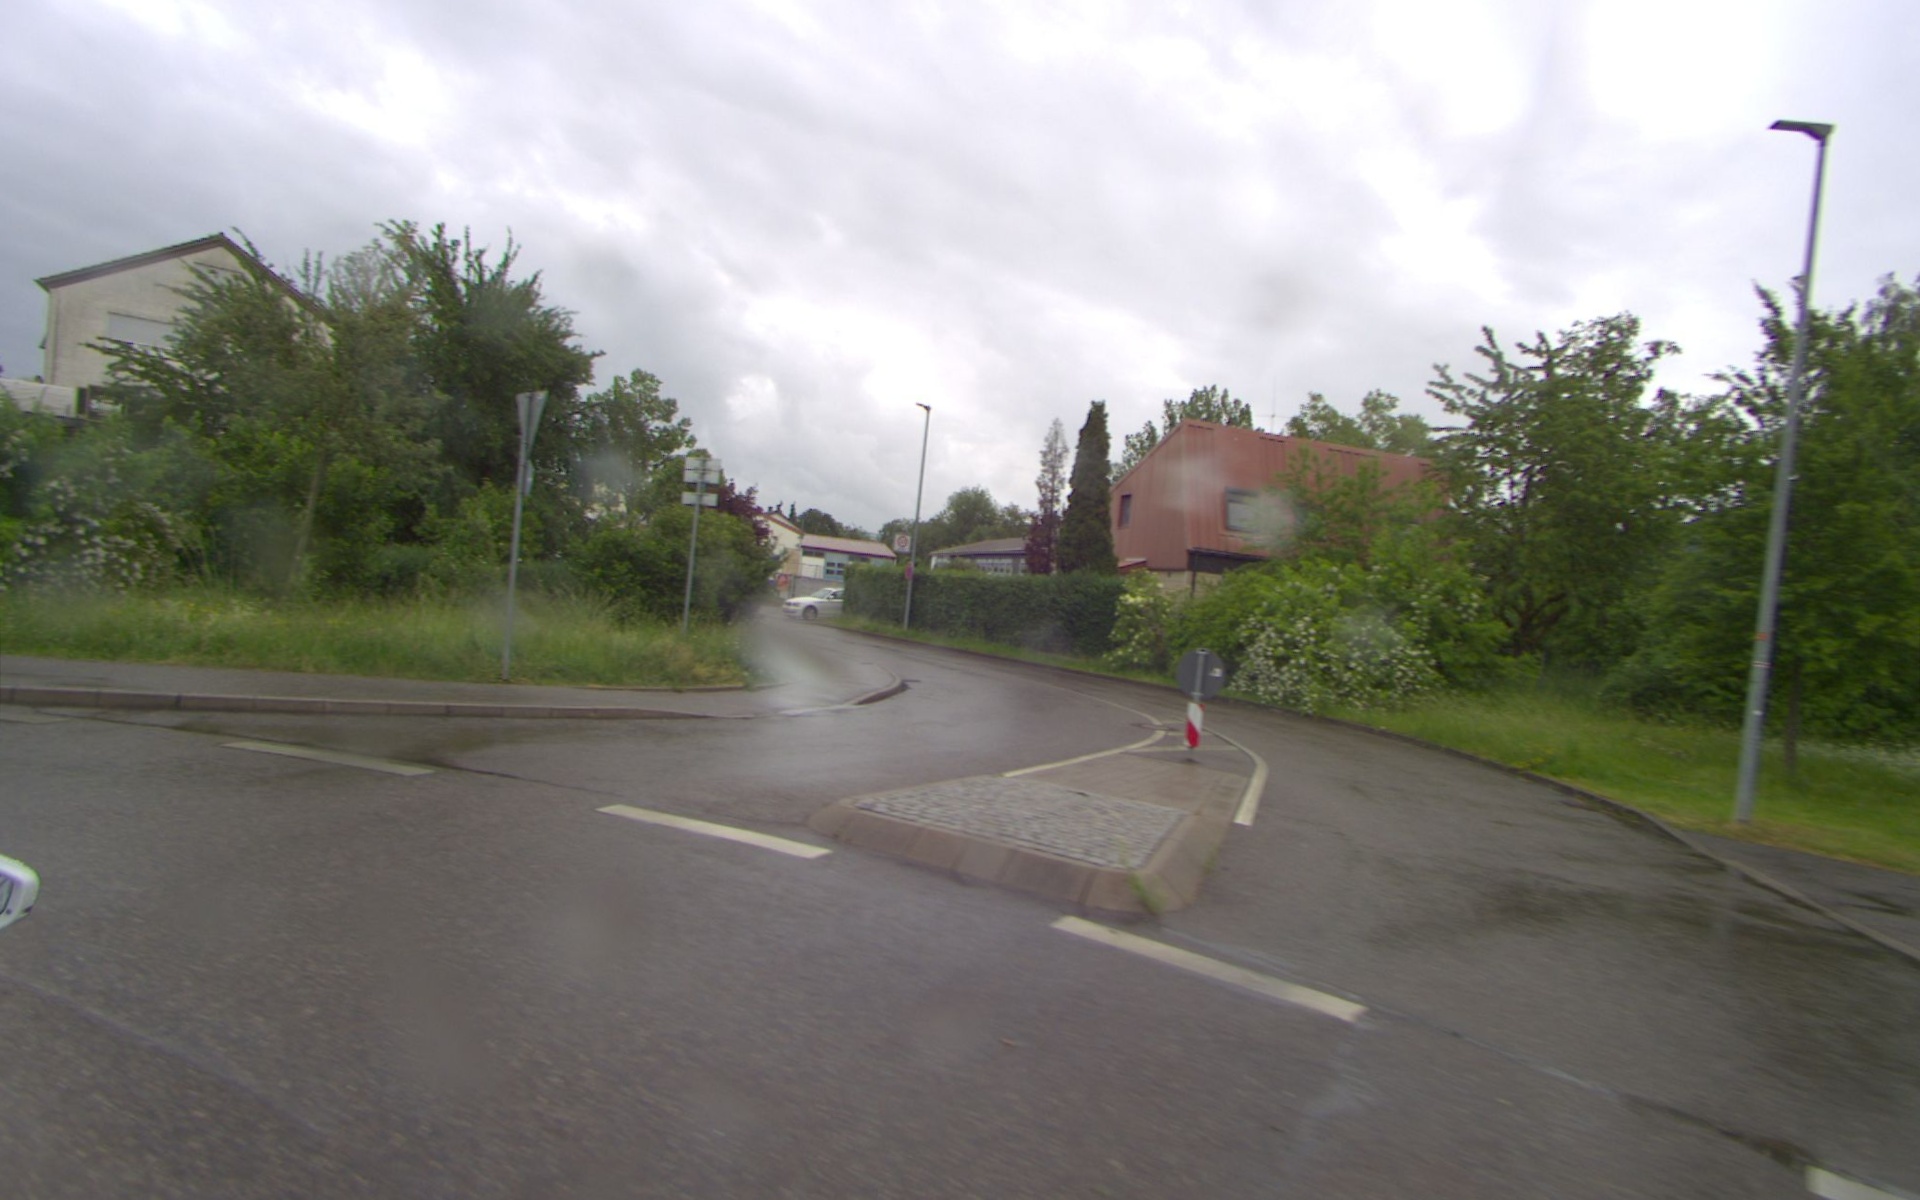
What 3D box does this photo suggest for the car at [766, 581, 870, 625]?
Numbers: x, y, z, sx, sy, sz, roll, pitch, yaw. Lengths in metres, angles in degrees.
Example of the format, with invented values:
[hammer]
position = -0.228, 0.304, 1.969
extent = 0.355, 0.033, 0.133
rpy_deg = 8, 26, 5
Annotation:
[car]
position = -6.063, 0.132, 43.133
extent = 3.960, 1.391, 1.768
rpy_deg = 7, 0, -33
